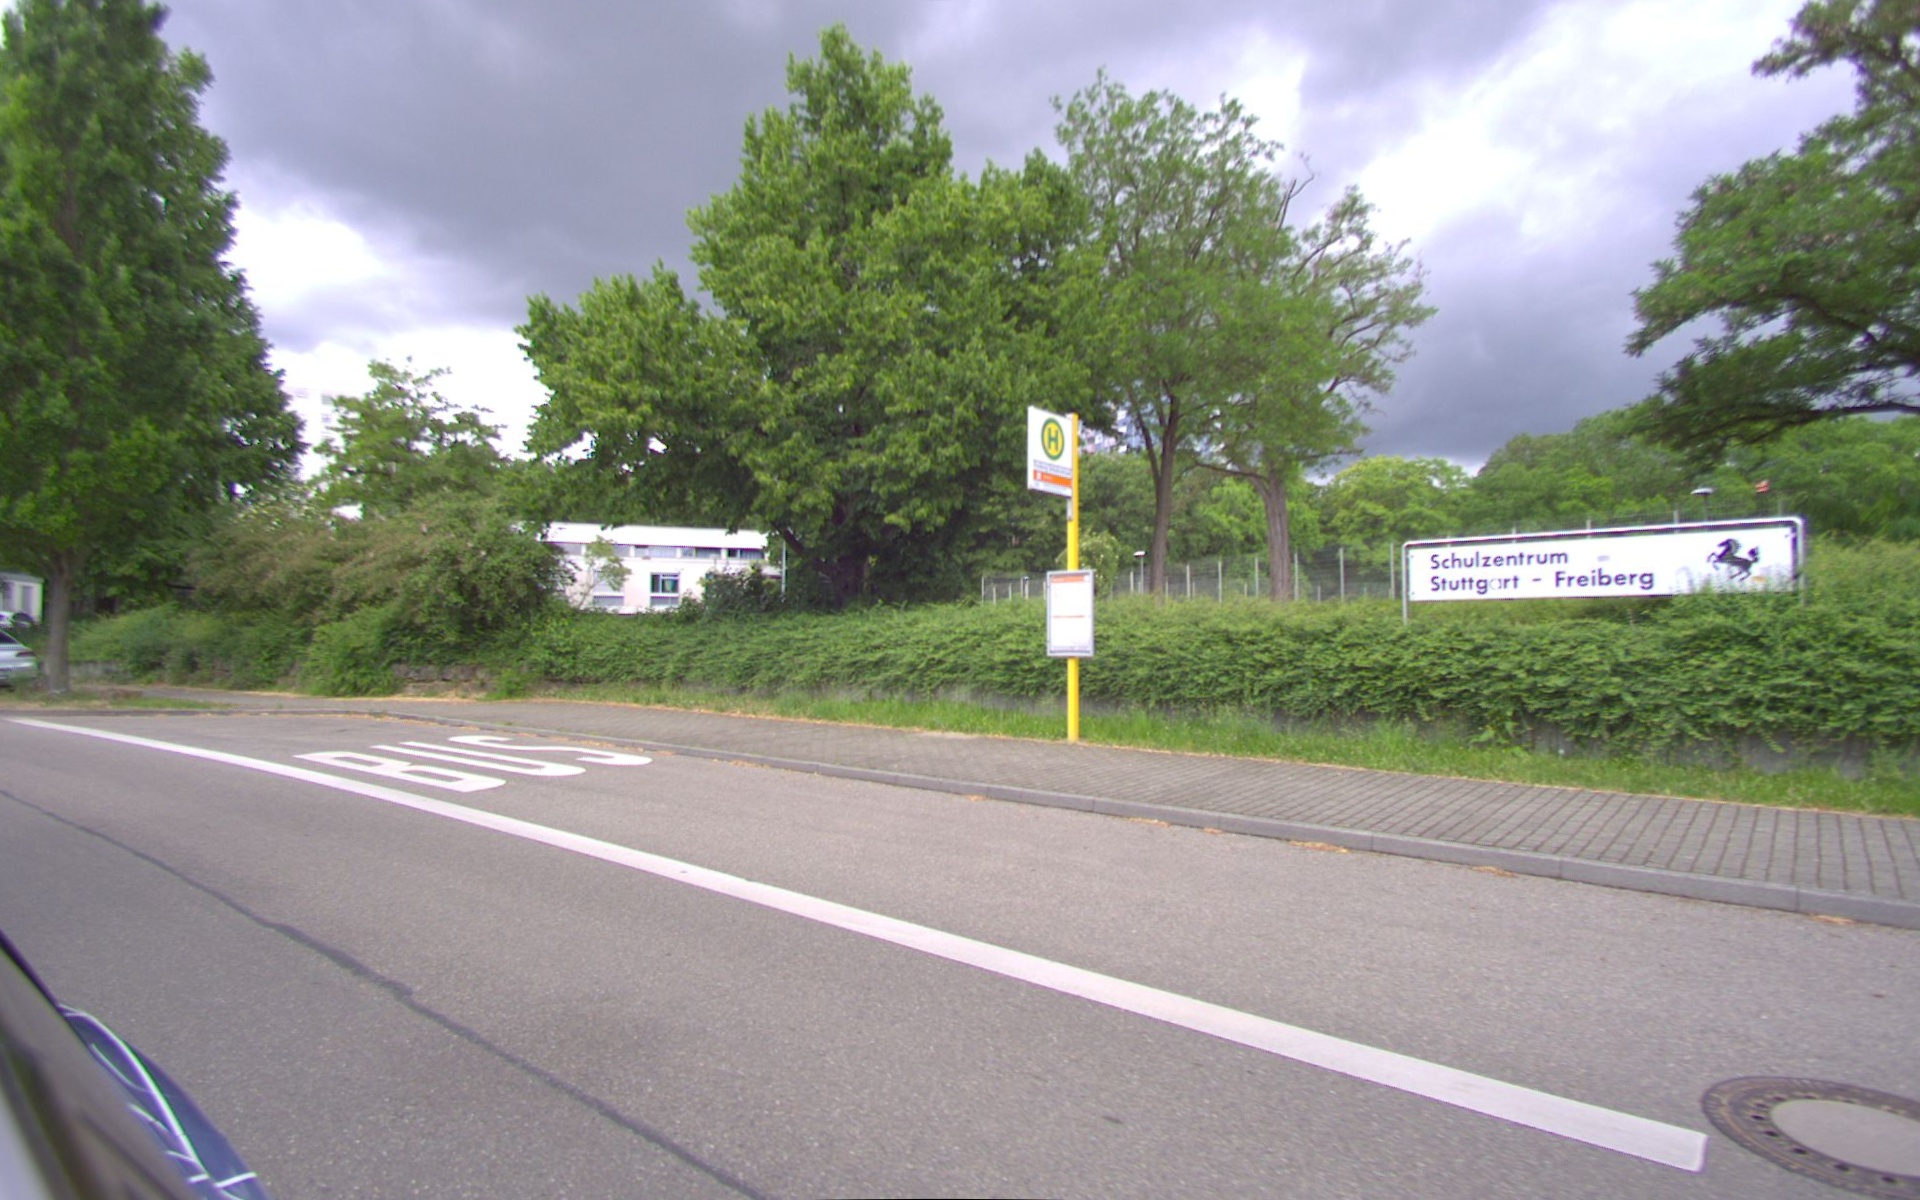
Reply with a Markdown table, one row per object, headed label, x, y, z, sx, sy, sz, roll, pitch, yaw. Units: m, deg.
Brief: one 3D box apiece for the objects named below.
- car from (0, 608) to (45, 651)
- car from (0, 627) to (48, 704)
| label | x | y | z | sx | sy | sz | roll | pitch | yaw |
| --- | --- | --- | --- | --- | --- | --- | --- | --- | --- |
| car | -39.242 | 1.165 | 40.220 | 3.746 | 1.650 | 2.006 | 0 | 0 | -17 |
| car | -20.981 | 1.330 | 20.882 | 4.616 | 1.503 | 1.835 | -1 | -1 | 29 |
